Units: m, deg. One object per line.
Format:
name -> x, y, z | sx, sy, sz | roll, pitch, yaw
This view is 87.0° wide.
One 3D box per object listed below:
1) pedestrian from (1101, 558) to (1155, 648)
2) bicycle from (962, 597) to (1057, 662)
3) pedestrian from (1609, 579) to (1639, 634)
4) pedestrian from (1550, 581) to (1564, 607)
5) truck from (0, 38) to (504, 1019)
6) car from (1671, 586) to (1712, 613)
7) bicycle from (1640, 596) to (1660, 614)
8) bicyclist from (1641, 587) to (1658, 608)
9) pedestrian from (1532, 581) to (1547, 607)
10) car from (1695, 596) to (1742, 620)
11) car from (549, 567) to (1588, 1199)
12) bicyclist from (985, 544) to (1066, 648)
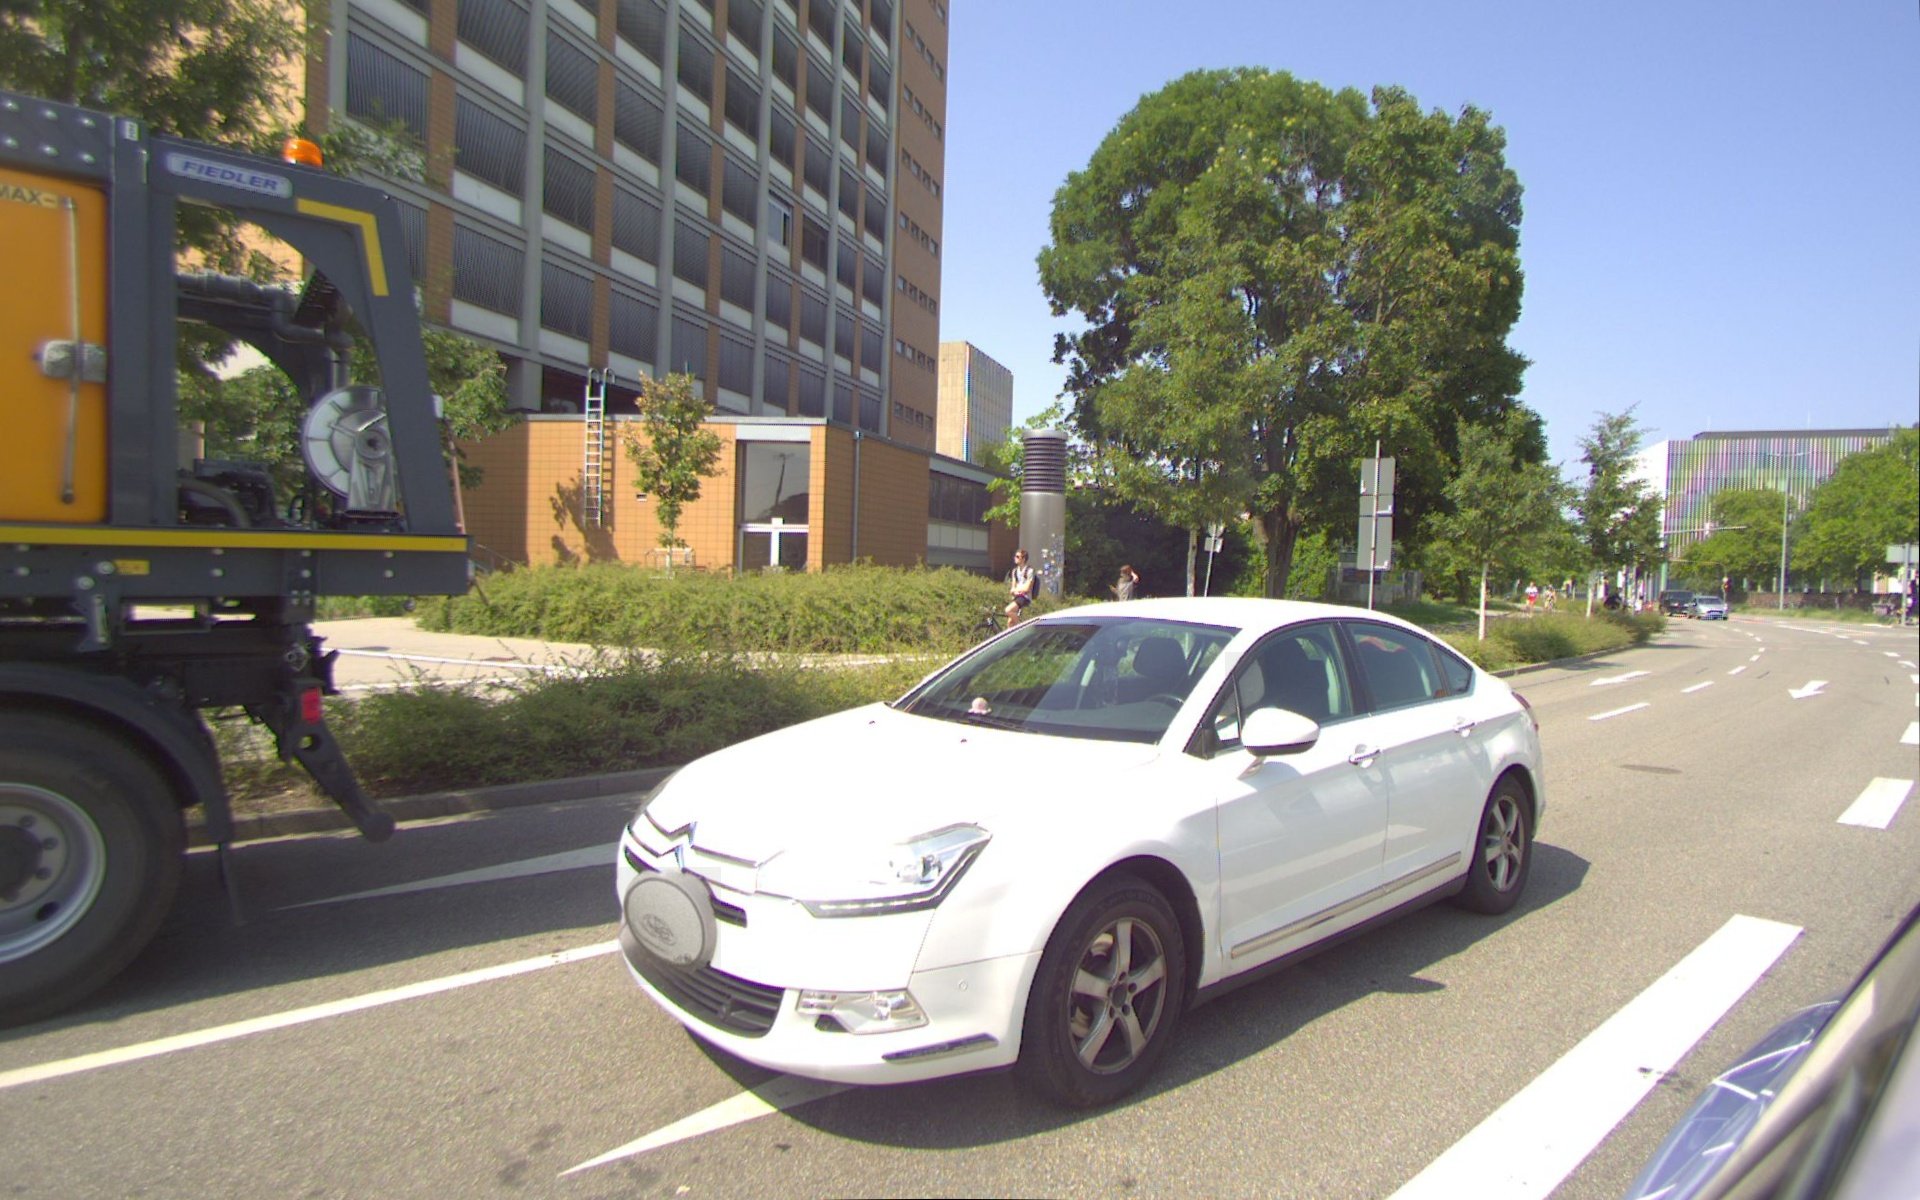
pedestrian -> 3.302, 0.052, 19.906 | 0.670, 1.720, 0.793 | 2, 1, 45
bicycle -> 0.822, 0.464, 16.383 | 1.751, 0.992, 0.357 | 0, 1, -41
pedestrian -> 23.775, 0.220, 36.215 | 0.818, 1.926, 0.622 | 2, 1, 37
pedestrian -> 29.983, -0.318, 50.828 | 0.571, 1.315, 0.433 | 0, 0, 28
truck -> -5.309, -0.237, 3.108 | 6.736, 3.174, 2.498 | 0, 0, -39
car -> 54.332, -0.079, 75.243 | 1.874, 1.943, 4.489 | 1, 1, 28
bicycle -> 46.971, 0.315, 68.898 | 2.197, 1.183, 0.593 | 0, 2, -43
bicyclist -> 46.872, -0.185, 68.763 | 1.031, 1.417, 0.678 | 0, 1, -42
pedestrian -> 29.266, -0.313, 51.138 | 0.629, 1.315, 0.482 | 0, 0, 30
car -> 50.375, 0.519, 67.280 | 1.643, 1.550, 4.492 | 0, 0, 26
car -> 0.843, 0.637, 4.358 | 4.527, 1.446, 1.773 | 0, 2, -39
bicyclist -> 1.069, -0.077, 16.461 | 0.909, 1.625, 0.903 | 0, 1, -43
